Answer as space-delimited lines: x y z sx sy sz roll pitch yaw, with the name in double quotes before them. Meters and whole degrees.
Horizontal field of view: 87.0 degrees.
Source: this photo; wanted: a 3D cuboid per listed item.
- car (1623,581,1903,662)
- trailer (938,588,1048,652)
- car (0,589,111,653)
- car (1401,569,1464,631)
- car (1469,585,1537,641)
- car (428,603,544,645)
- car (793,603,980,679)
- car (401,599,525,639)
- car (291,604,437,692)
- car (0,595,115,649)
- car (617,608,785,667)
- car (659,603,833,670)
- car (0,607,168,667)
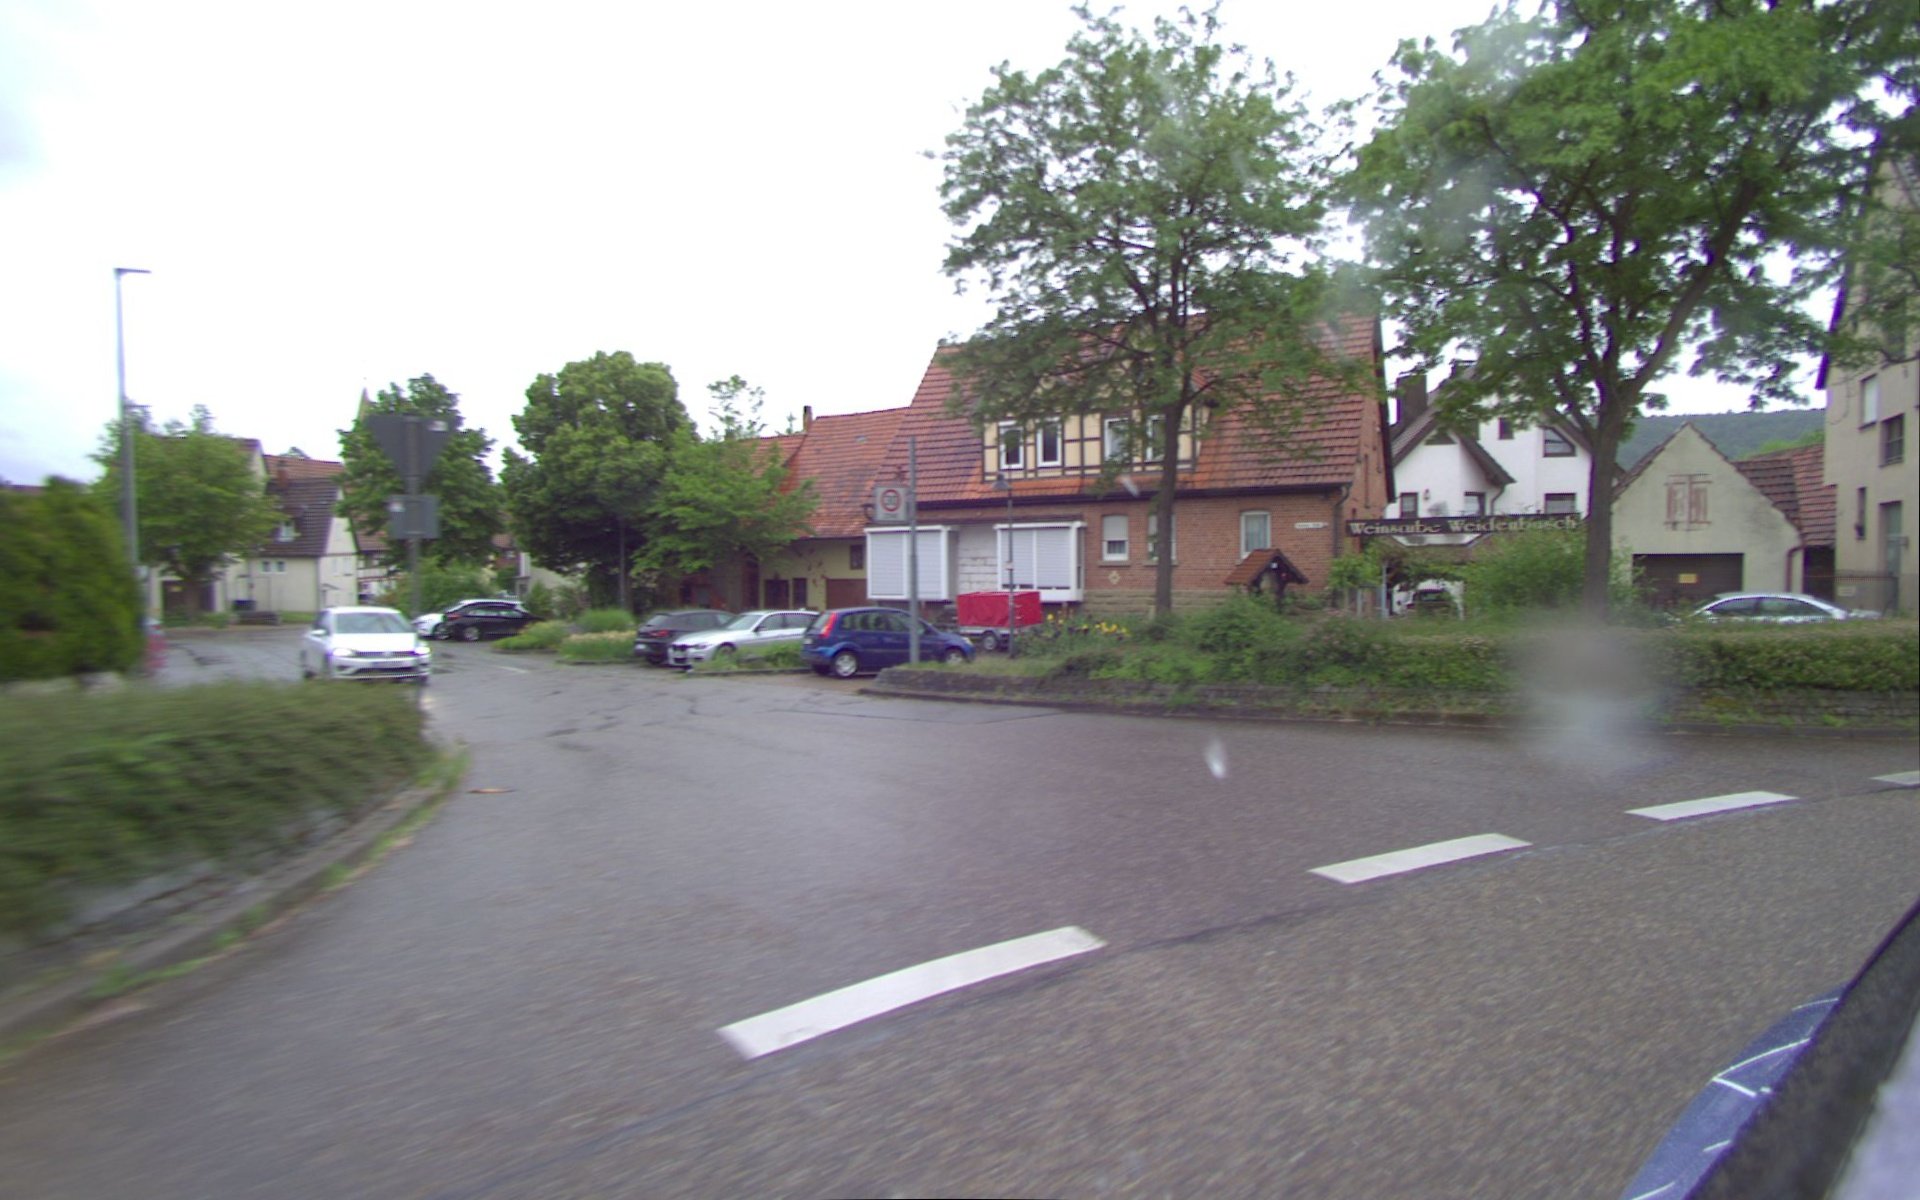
"car" 16.169 0.392 20.708 4.231 1.457 1.888 0 2 31
"trailer" 0.894 0.529 27.859 2.707 1.670 1.394 -1 0 36
"car" -29.055 0.629 31.258 1.821 1.905 3.964 -1 0 26
"car" 16.670 -0.022 35.850 1.579 2.039 3.975 -1 1 19
"car" 15.736 0.342 29.270 1.588 1.515 3.958 -1 0 30
"car" -19.279 0.943 41.230 3.929 1.572 1.997 -1 0 -40
"car" -1.571 0.827 21.729 3.657 1.408 1.626 -1 0 -24
"car" -21.108 0.788 43.039 4.403 1.572 1.997 -1 0 -40
"car" -12.236 0.892 20.671 1.728 1.555 4.140 -2 1 -43
"car" -31.199 0.699 33.938 1.978 1.718 3.968 -1 0 24
"car" -6.797 0.933 26.792 1.874 1.393 3.936 -1 0 45
"car" -5.132 0.823 24.644 1.618 1.408 3.938 -1 1 43
"car" -24.537 0.957 27.806 1.924 1.475 3.968 -1 0 23
